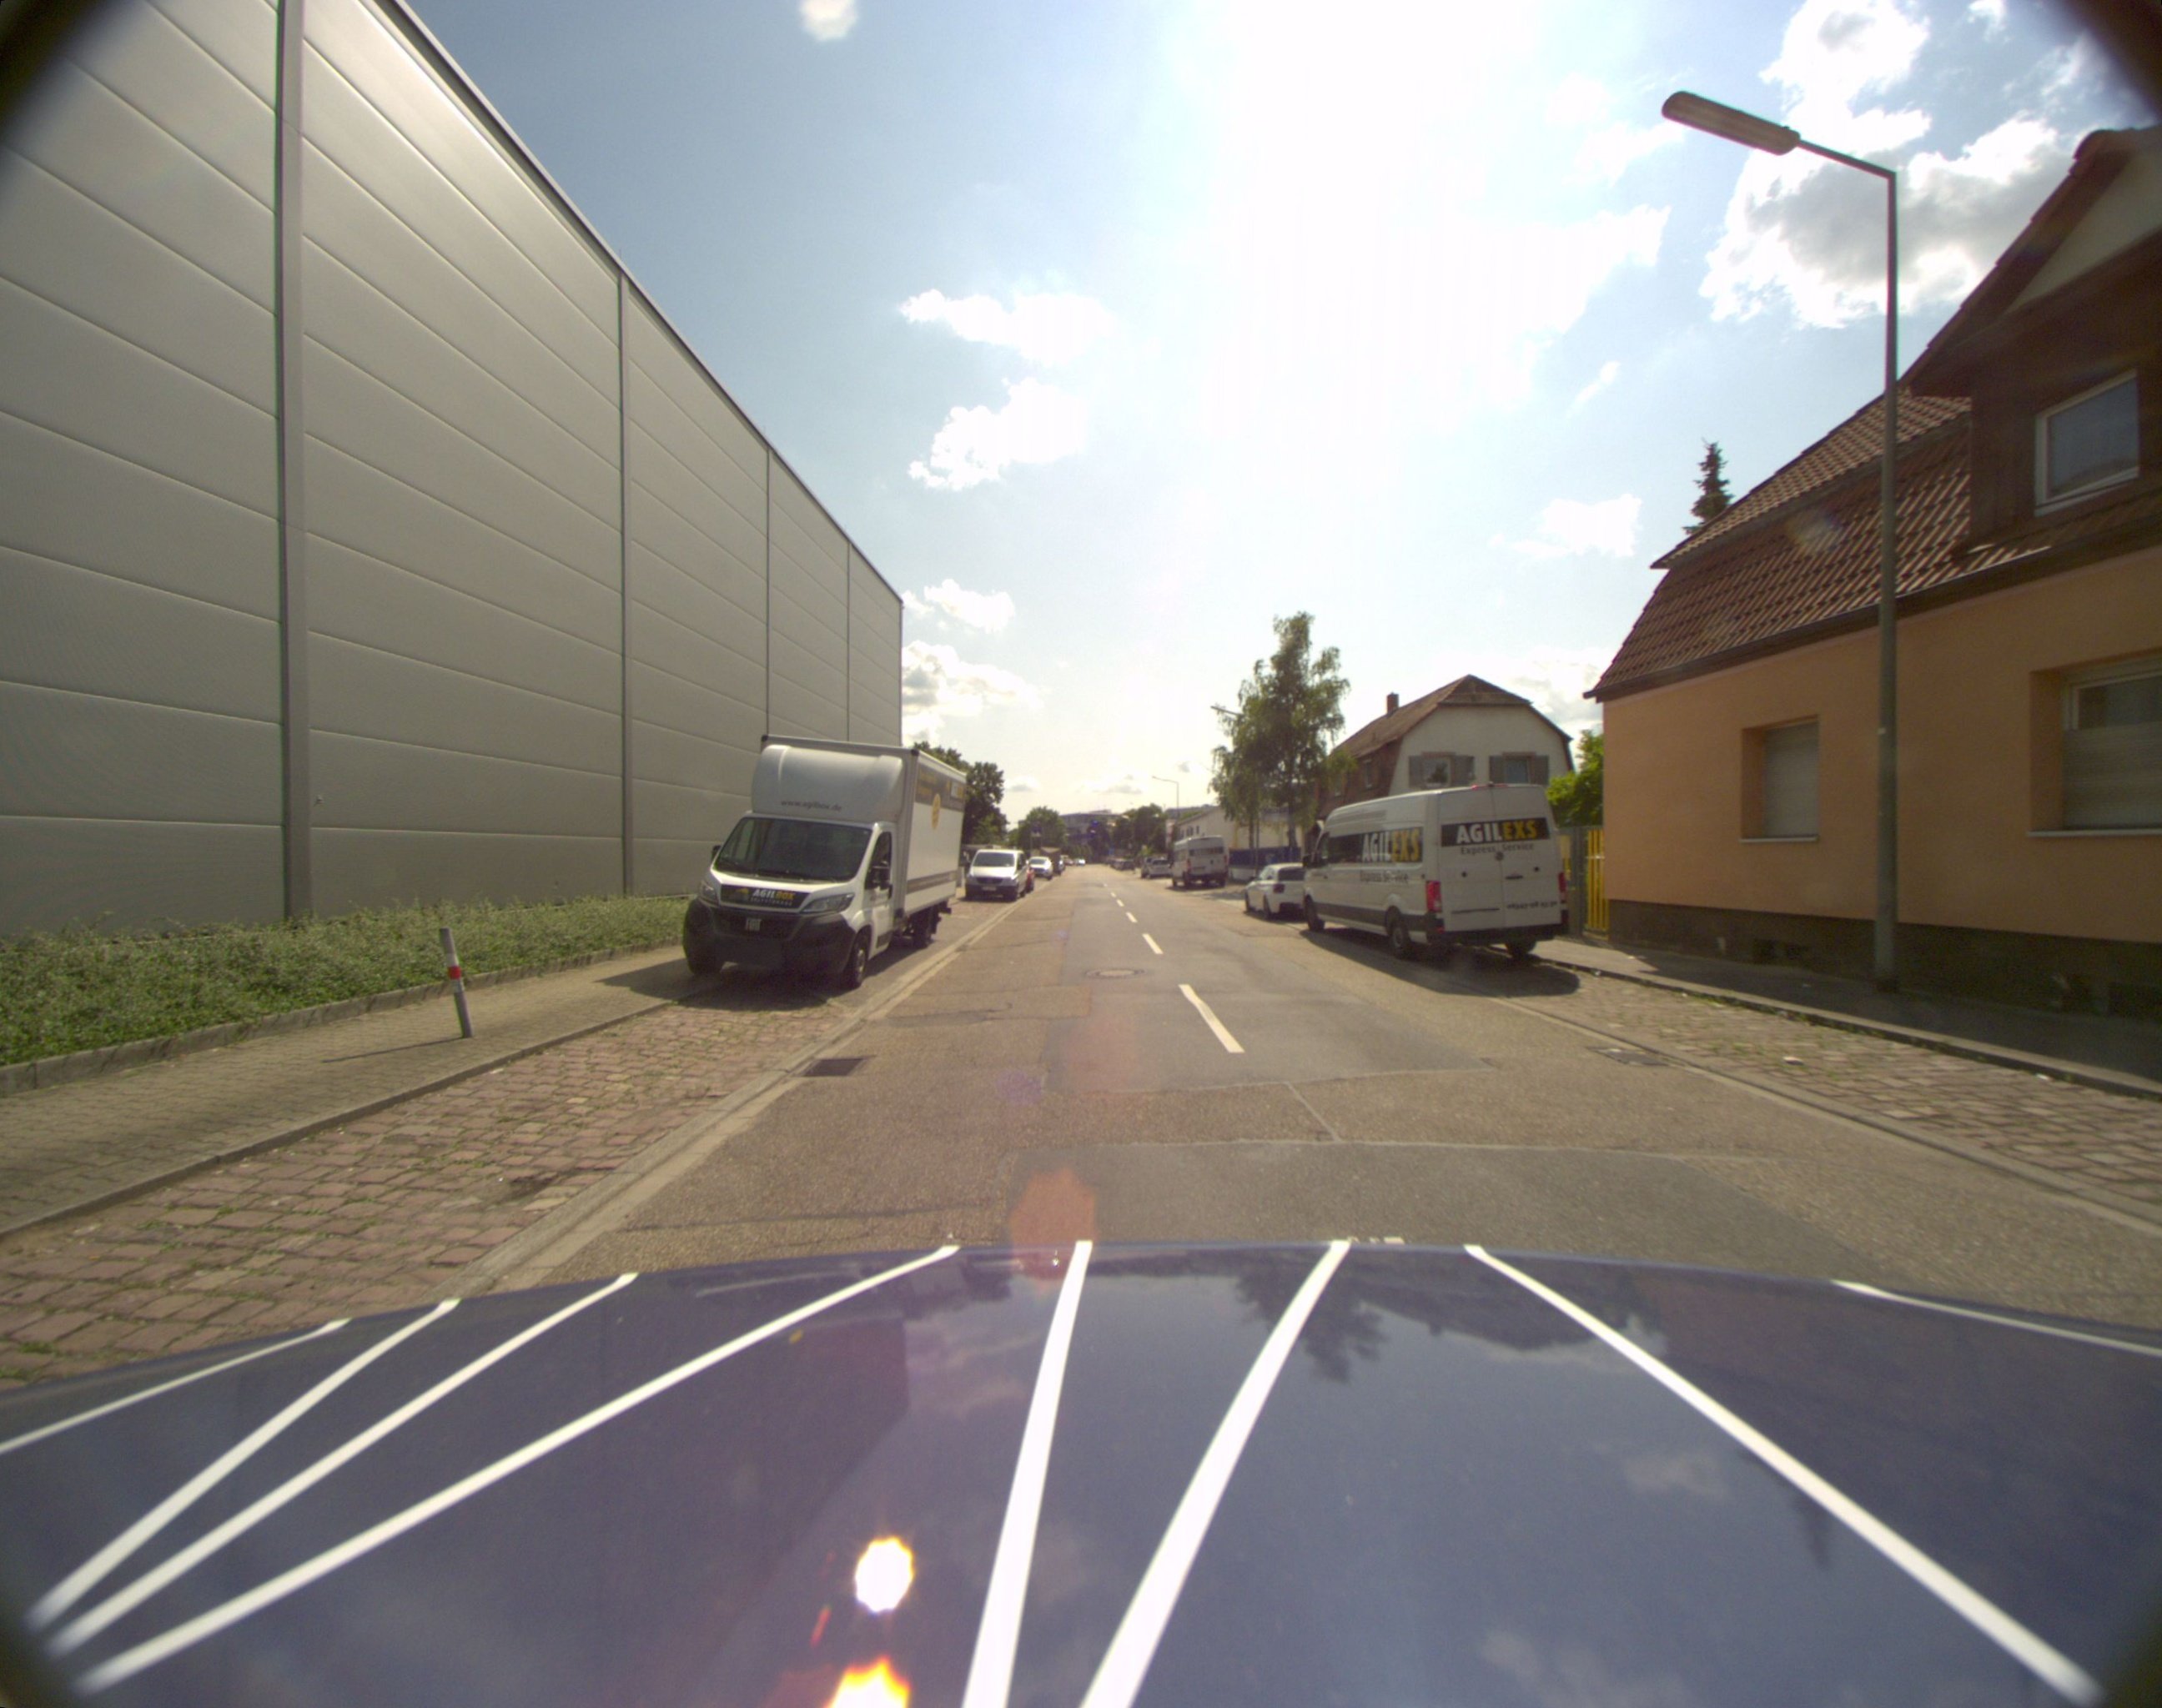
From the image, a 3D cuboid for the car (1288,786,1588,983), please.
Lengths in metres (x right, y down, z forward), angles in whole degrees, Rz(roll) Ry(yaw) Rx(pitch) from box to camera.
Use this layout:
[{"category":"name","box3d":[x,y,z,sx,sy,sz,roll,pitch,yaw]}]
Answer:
[{"category":"car","box3d":[5.730,0.369,13.610,2.032,2.546,6.838,-3,1,0]}]

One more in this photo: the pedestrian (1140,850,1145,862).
[{"category":"pedestrian","box3d":[9.012,0.310,111.721,0.710,1.791,0.916,-1,1,0]}]

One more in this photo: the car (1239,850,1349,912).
[{"category":"car","box3d":[5.637,0.652,20.692,1.800,1.389,4.501,-3,1,2]}]

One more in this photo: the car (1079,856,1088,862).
[{"category":"car","box3d":[0.558,1.176,169.727,1.758,1.211,4.224,-1,0,0]}]

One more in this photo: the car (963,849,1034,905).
[{"category":"car","box3d":[-3.057,0.809,29.252,2.059,1.892,5.146,2,0,1]}]

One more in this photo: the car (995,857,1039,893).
[{"category":"car","box3d":[-2.977,0.949,36.122,1.708,1.615,4.092,-1,0,0]}]

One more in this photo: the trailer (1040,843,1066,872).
[{"category":"trailer","box3d":[-2.714,0.308,74.615,2.210,2.721,6.220,2,1,0]}]

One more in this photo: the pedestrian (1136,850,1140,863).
[{"category":"pedestrian","box3d":[8.322,0.329,111.411,0.452,1.883,0.677,-1,1,0]}]

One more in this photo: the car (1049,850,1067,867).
[{"category":"car","box3d":[-2.804,0.549,93.319,1.998,2.002,5.649,-1,1,0]}]

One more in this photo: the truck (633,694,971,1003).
[{"category":"truck","box3d":[-3.595,-0.086,11.814,2.464,3.274,6.817,3,1,1]}]

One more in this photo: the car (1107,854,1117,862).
[{"category":"car","box3d":[6.964,0.944,172.664,1.762,1.565,4.475,-2,1,-3]}]

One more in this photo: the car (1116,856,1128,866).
[{"category":"car","box3d":[6.513,1.098,121.302,1.649,1.469,4.028,-2,1,0]}]

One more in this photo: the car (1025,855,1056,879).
[{"category":"car","box3d":[-2.920,0.910,55.879,1.940,1.683,4.679,1,0,0]}]

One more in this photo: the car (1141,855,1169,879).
[{"category":"car","box3d":[6.090,1.031,63.061,1.795,1.709,4.751,-4,0,1]}]

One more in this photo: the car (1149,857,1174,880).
[{"category":"car","box3d":[6.159,1.099,58.199,1.613,1.565,3.009,-5,0,3]}]

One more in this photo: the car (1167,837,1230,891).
[{"category":"car","box3d":[6.148,0.451,40.611,2.035,2.543,6.655,-3,1,-1]}]

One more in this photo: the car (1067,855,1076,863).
[{"category":"car","box3d":[-2.039,1.057,161.369,1.758,1.478,4.224,2,0,0]}]

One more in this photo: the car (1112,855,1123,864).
[{"category":"car","box3d":[6.833,0.995,142.800,1.849,1.499,4.000,-4,0,0]}]

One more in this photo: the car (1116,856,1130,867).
[{"category":"car","box3d":[6.161,1.088,112.038,1.625,1.513,4.174,-2,0,-2]}]
